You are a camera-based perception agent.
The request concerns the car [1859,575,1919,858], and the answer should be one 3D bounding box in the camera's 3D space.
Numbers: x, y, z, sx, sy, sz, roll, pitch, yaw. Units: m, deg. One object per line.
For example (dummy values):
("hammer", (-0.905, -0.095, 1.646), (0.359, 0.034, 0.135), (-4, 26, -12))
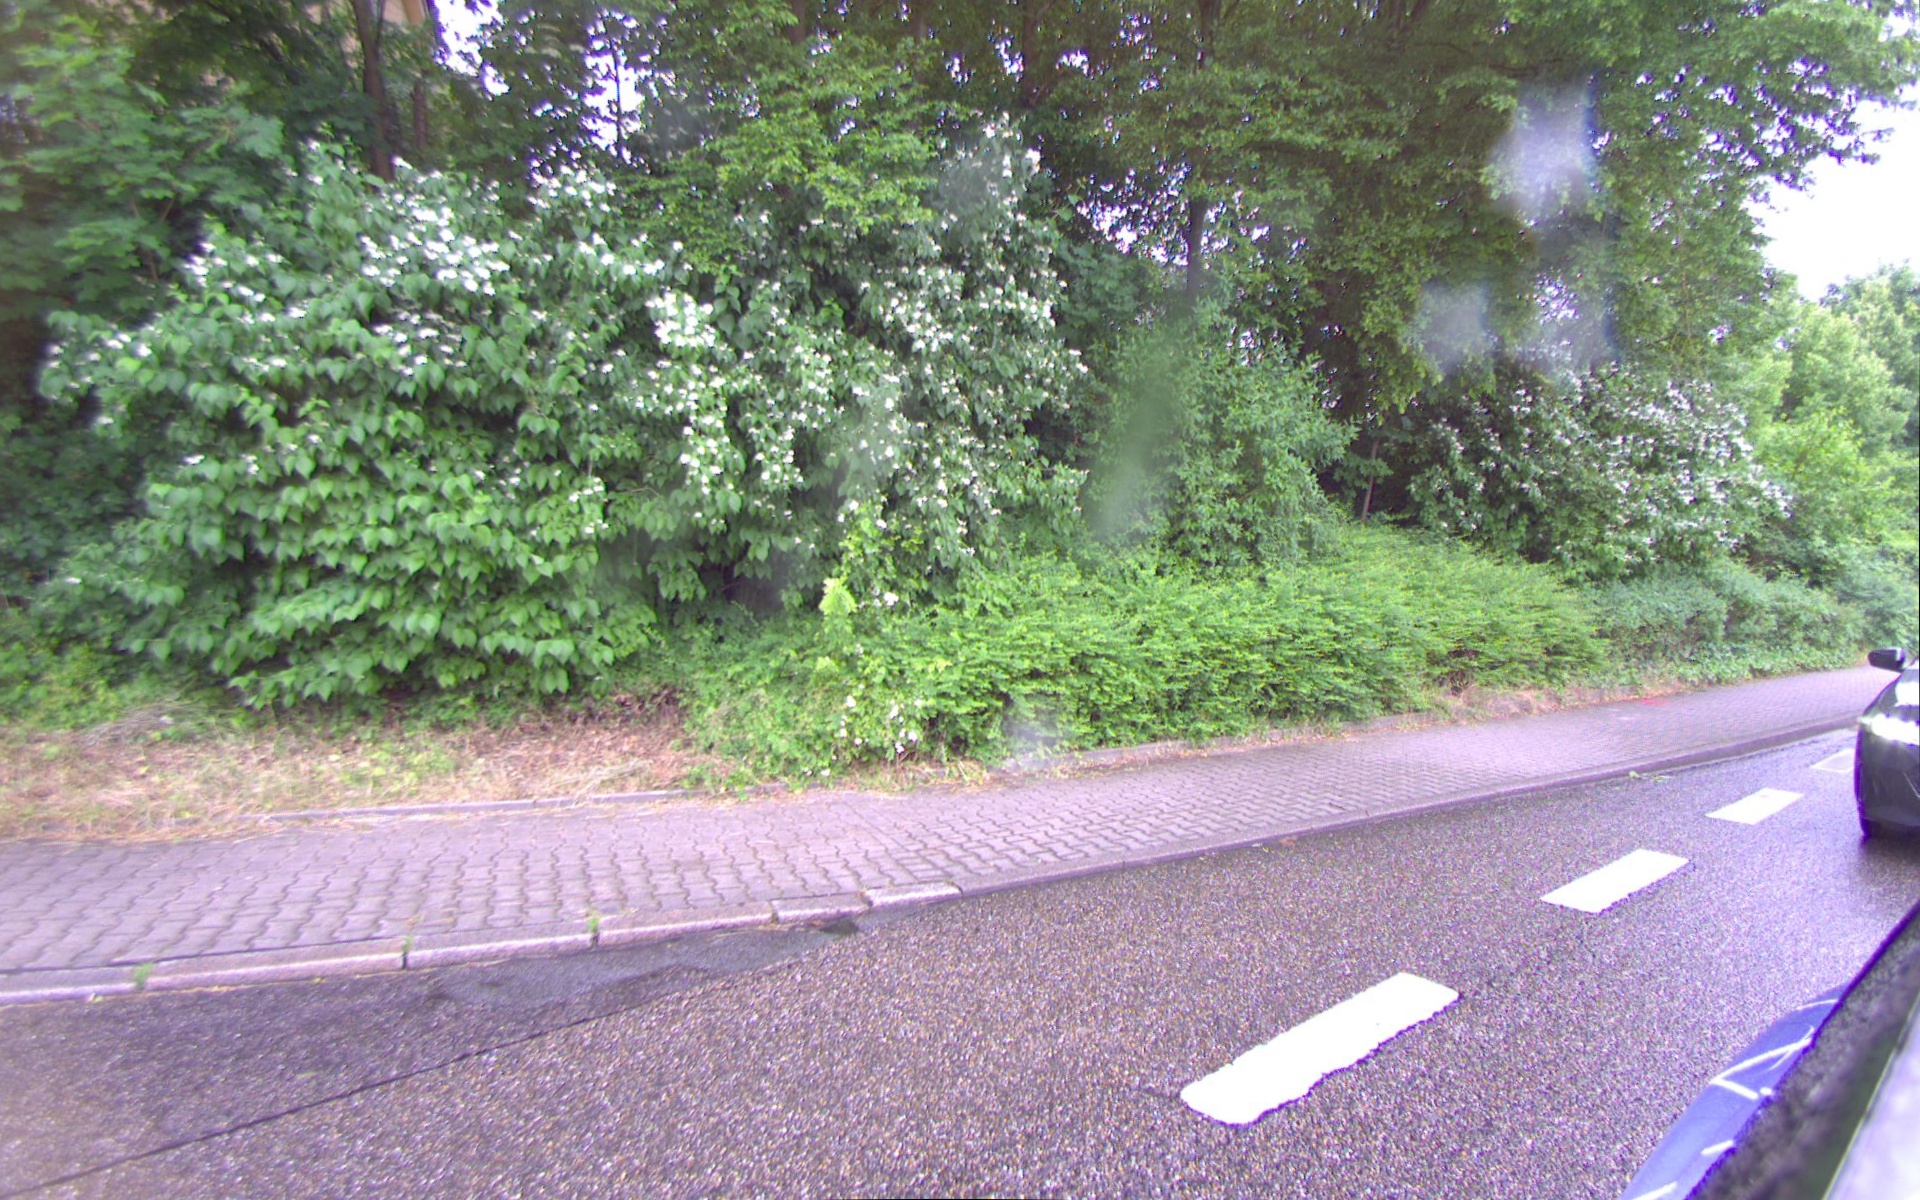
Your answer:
("car", (7.237, 0.654, 6.260), (4.123, 1.524, 1.872), (-1, 4, -40))
